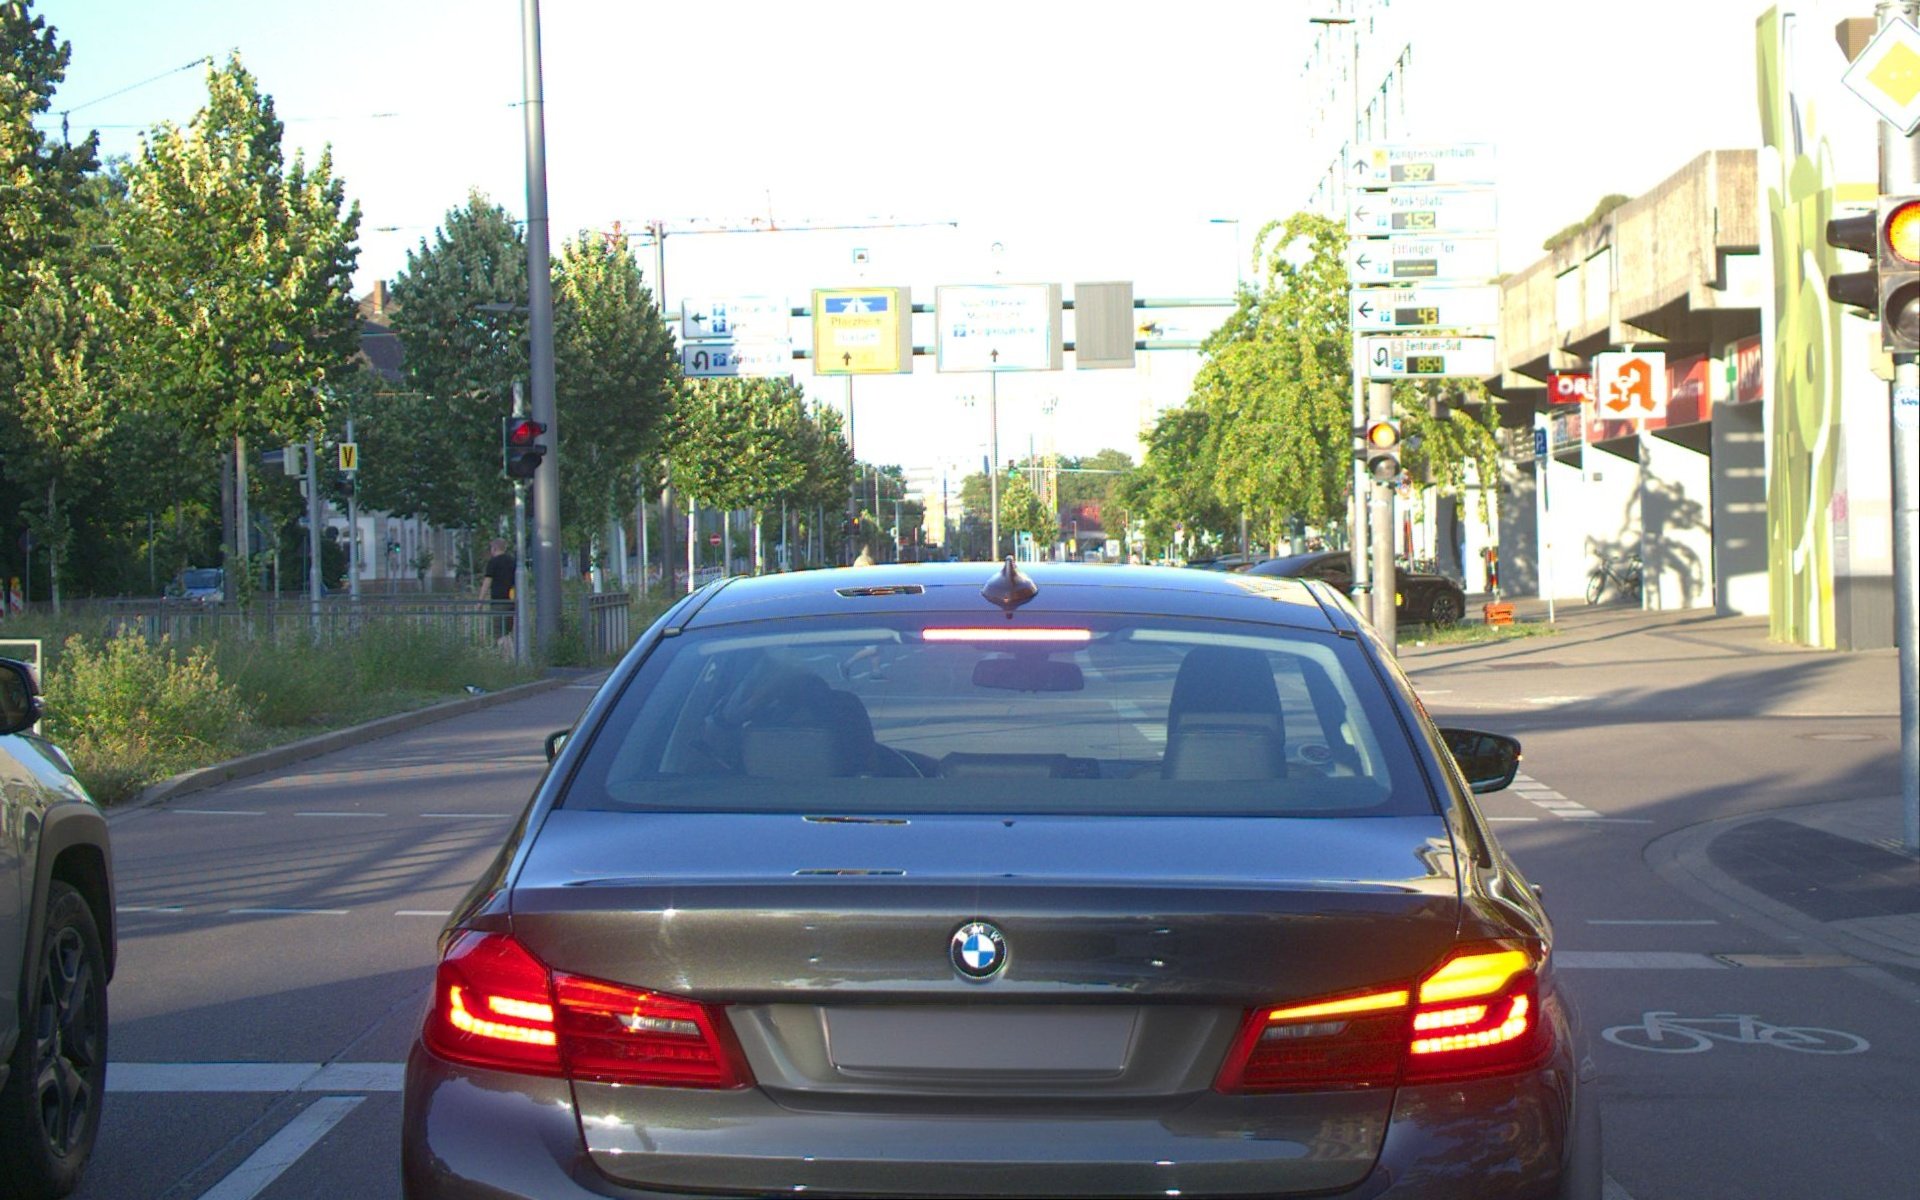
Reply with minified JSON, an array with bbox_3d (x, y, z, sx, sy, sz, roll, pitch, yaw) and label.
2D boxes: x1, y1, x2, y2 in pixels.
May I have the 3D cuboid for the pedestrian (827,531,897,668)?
[{"bbox_3d":[-1.232,-0.011,43.372,0.835,1.706,0.648,-1,1,-1],"label":"pedestrian"}]

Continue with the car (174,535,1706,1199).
[{"bbox_3d":[0.053,0.650,6.611,1.932,1.476,4.522,0,2,2],"label":"car"}]

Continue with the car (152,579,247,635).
[{"bbox_3d":[-21.506,0.175,97.292,1.800,1.476,3.783,-1,1,1],"label":"car"}]

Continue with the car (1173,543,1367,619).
[{"bbox_3d":[7.139,-0.461,79.049,4.255,1.653,1.860,-1,2,-35],"label":"car"}]

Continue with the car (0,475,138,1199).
[{"bbox_3d":[-2.886,0.595,6.231,1.854,1.653,4.269,0,2,-1],"label":"car"}]

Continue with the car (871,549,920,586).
[{"bbox_3d":[-2.734,-1.396,146.943,1.979,1.428,4.843,0,2,0],"label":"car"}]

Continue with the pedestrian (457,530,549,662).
[{"bbox_3d":[-5.622,-0.052,42.302,0.809,1.581,0.838,-2,1,-32],"label":"pedestrian"}]

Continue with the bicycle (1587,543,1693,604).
[{"bbox_3d":[13.632,-0.529,68.961,2.017,1.145,0.690,2,0,7],"label":"bicycle"}]

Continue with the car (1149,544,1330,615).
[{"bbox_3d":[6.935,-0.518,85.149,4.255,1.653,1.860,-1,2,-35],"label":"car"}]

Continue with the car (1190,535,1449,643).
[{"bbox_3d":[5.942,-0.209,56.582,4.256,1.653,1.860,-2,3,-42],"label":"car"}]
